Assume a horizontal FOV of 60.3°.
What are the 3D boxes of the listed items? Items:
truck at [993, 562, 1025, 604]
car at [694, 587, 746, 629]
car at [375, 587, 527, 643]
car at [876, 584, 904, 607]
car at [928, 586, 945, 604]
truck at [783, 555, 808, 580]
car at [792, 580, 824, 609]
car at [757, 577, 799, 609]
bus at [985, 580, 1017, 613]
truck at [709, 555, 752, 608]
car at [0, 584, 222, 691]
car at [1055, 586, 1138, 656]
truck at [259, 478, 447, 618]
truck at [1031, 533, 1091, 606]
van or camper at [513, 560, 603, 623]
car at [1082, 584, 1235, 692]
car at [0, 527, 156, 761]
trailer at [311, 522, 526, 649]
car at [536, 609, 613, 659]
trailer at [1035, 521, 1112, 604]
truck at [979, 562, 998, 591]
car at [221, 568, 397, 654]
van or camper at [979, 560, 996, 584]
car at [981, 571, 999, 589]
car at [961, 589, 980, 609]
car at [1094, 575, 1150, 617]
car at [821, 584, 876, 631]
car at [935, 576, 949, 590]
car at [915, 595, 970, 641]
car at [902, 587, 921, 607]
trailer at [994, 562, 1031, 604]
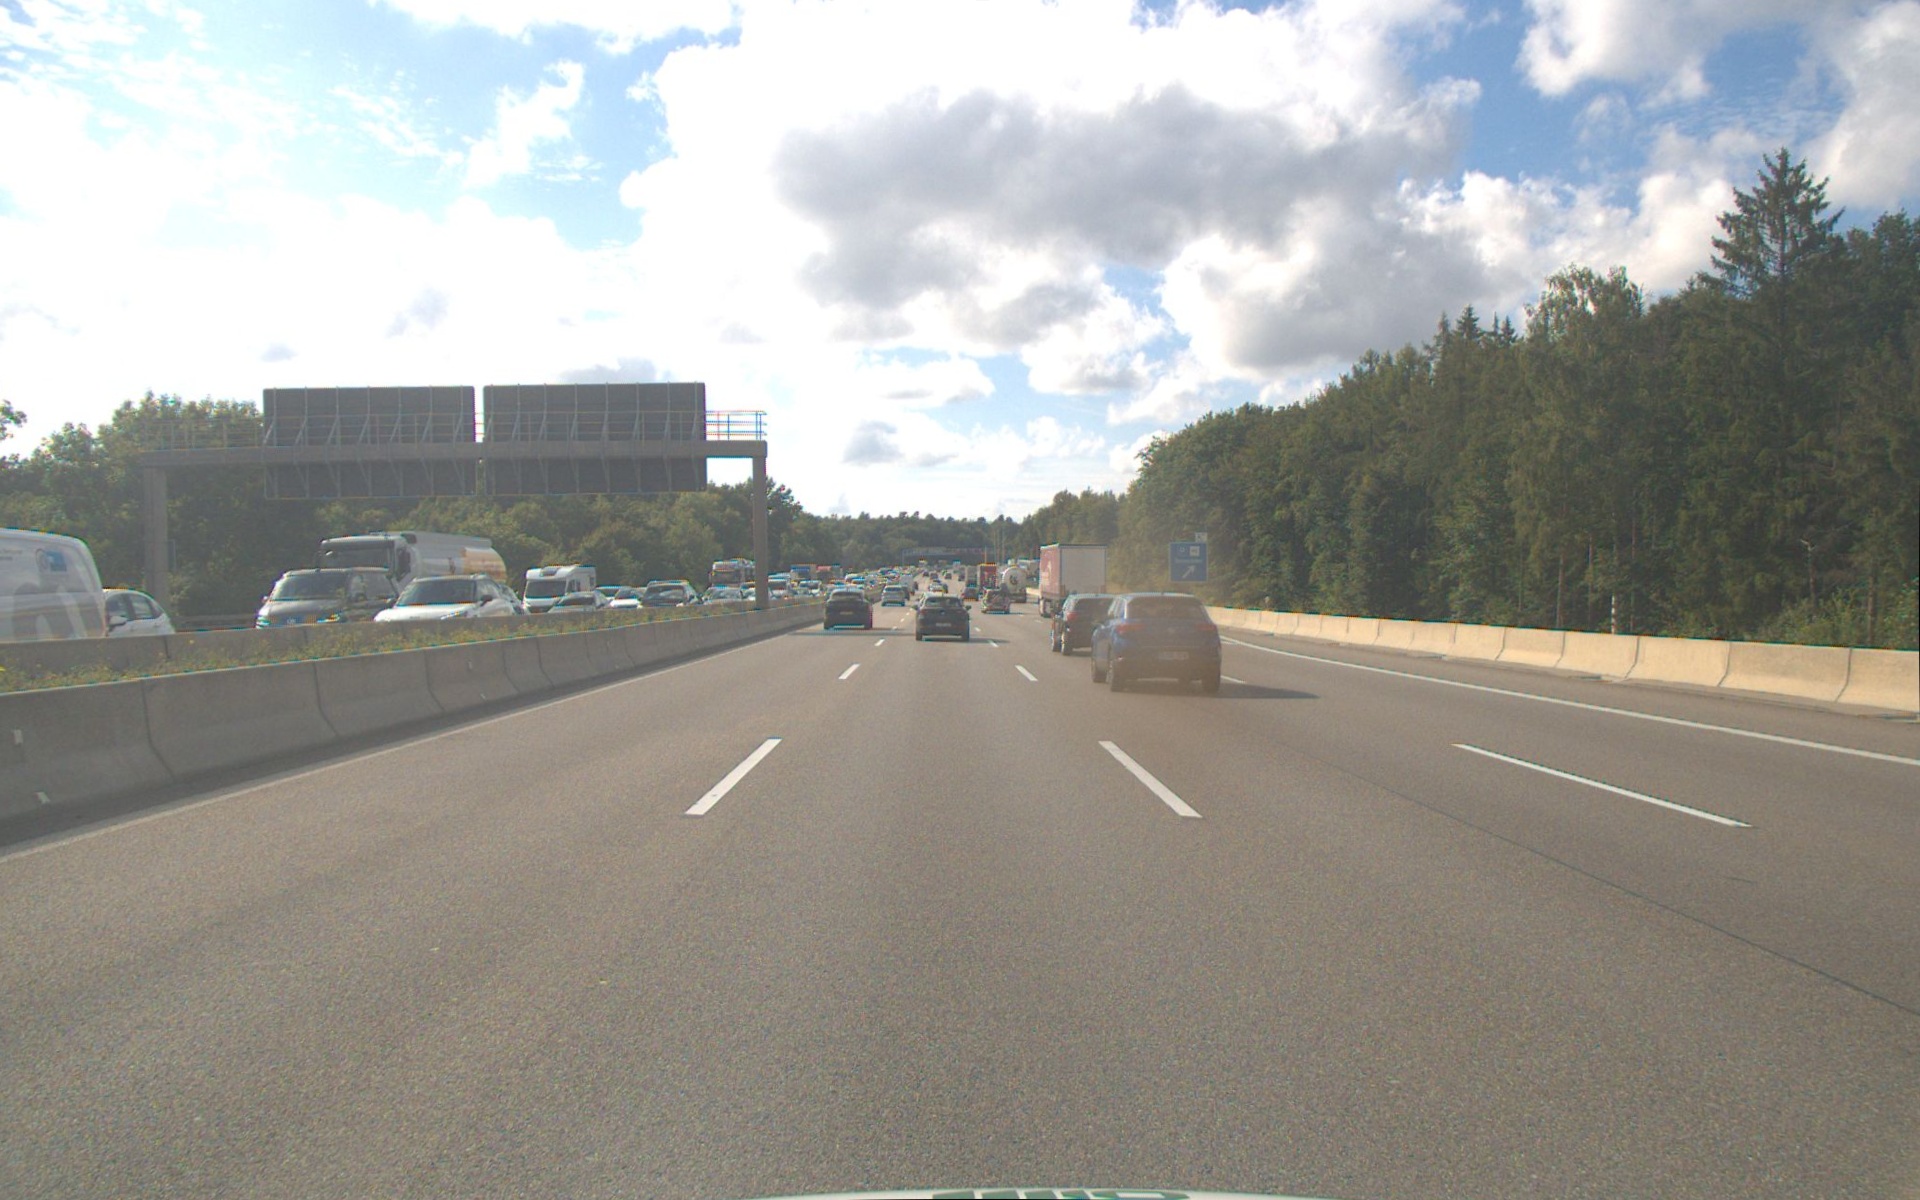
[{"bbox_3d":[5.059,-1.714,171.371,2.984,4.233,7.125,0,0,-1],"label":"truck"},{"bbox_3d":[-10.976,0.354,76.015,1.731,1.830,4.937,1,0,-1],"label":"car"},{"bbox_3d":[-9.663,0.260,31.738,1.610,0.956,4.487,1,0,-2],"label":"car"},{"bbox_3d":[-5.802,-0.394,137.284,2.111,1.807,3.999,1,0,-1],"label":"car"},{"bbox_3d":[-2.712,-0.556,189.502,1.953,2.049,3.999,-1,-1,-1],"label":"car"},{"bbox_3d":[-19.692,-3.846,198.180,2.281,2.850,7.947,2,1,-1],"label":"truck"},{"bbox_3d":[-11.505,-0.372,125.781,1.953,2.137,5.277,1,-1,-1],"label":"car"},{"bbox_3d":[-10.826,-0.426,98.580,2.044,1.833,4.178,1,0,-1],"label":"car"},{"bbox_3d":[2.681,-0.213,108.994,1.953,2.049,3.999,1,-1,-1],"label":"bus"},{"bbox_3d":[-19.278,-1.577,139.146,2.795,4.308,5.712,1,0,-1],"label":"truck"},{"bbox_3d":[-13.701,0.544,26.638,1.795,1.564,4.241,1,0,-2],"label":"car"},{"bbox_3d":[3.410,0.501,41.992,1.762,1.673,4.000,1,0,0],"label":"car"},{"bbox_3d":[-18.284,-1.493,50.385,3.347,3.968,6.800,0,0,-1],"label":"truck"},{"bbox_3d":[5.967,-1.759,98.331,3.018,4.134,6.068,1,-1,-1],"label":"truck"},{"bbox_3d":[-18.130,-0.328,75.013,2.277,2.689,7.395,1,-1,-1],"label":"van or camper"},{"bbox_3d":[3.215,0.561,27.671,1.885,1.568,4.644,2,1,-1],"label":"car"},{"bbox_3d":[-9.518,0.407,15.063,1.795,2.098,5.499,-1,0,-2],"label":"car"},{"bbox_3d":[-18.450,-0.490,57.681,3.342,3.895,13.258,1,0,-1],"label":"trailer"},{"bbox_3d":[-14.256,1.228,61.373,1.763,1.660,4.661,3,0,-1],"label":"car"},{"bbox_3d":[6.134,-1.887,91.472,2.977,4.106,13.886,1,-1,-1],"label":"trailer"},{"bbox_3d":[3.798,-3.094,223.940,2.310,3.635,11.265,1,-1,0],"label":"truck"},{"bbox_3d":[-13.836,0.212,35.491,1.967,1.684,4.781,1,0,-2],"label":"car"},{"bbox_3d":[3.825,-3.902,230.772,2.303,3.199,5.710,1,-1,0],"label":"van or camper"},{"bbox_3d":[3.553,-2.366,198.753,1.953,2.049,3.999,1,-1,-1],"label":"car"},{"bbox_3d":[1.097,-0.161,174.695,1.953,2.049,3.999,1,0,-1],"label":"car"},{"bbox_3d":[6.087,-0.163,62.624,1.680,1.537,4.302,-1,0,0],"label":"car"},{"bbox_3d":[-4.453,0.278,66.749,1.953,1.807,3.999,1,0,-1],"label":"car"},{"bbox_3d":[-2.700,-2.520,241.985,1.953,2.049,3.999,1,0,-1],"label":"car"},{"bbox_3d":[-0.596,0.536,53.116,1.699,1.389,3.999,1,0,-2],"label":"car"},{"bbox_3d":[-5.088,-0.312,174.065,1.953,2.049,3.999,1,-1,-1],"label":"car"},{"bbox_3d":[5.181,-1.624,165.506,2.975,4.086,12.241,0,0,-2],"label":"trailer"}]
